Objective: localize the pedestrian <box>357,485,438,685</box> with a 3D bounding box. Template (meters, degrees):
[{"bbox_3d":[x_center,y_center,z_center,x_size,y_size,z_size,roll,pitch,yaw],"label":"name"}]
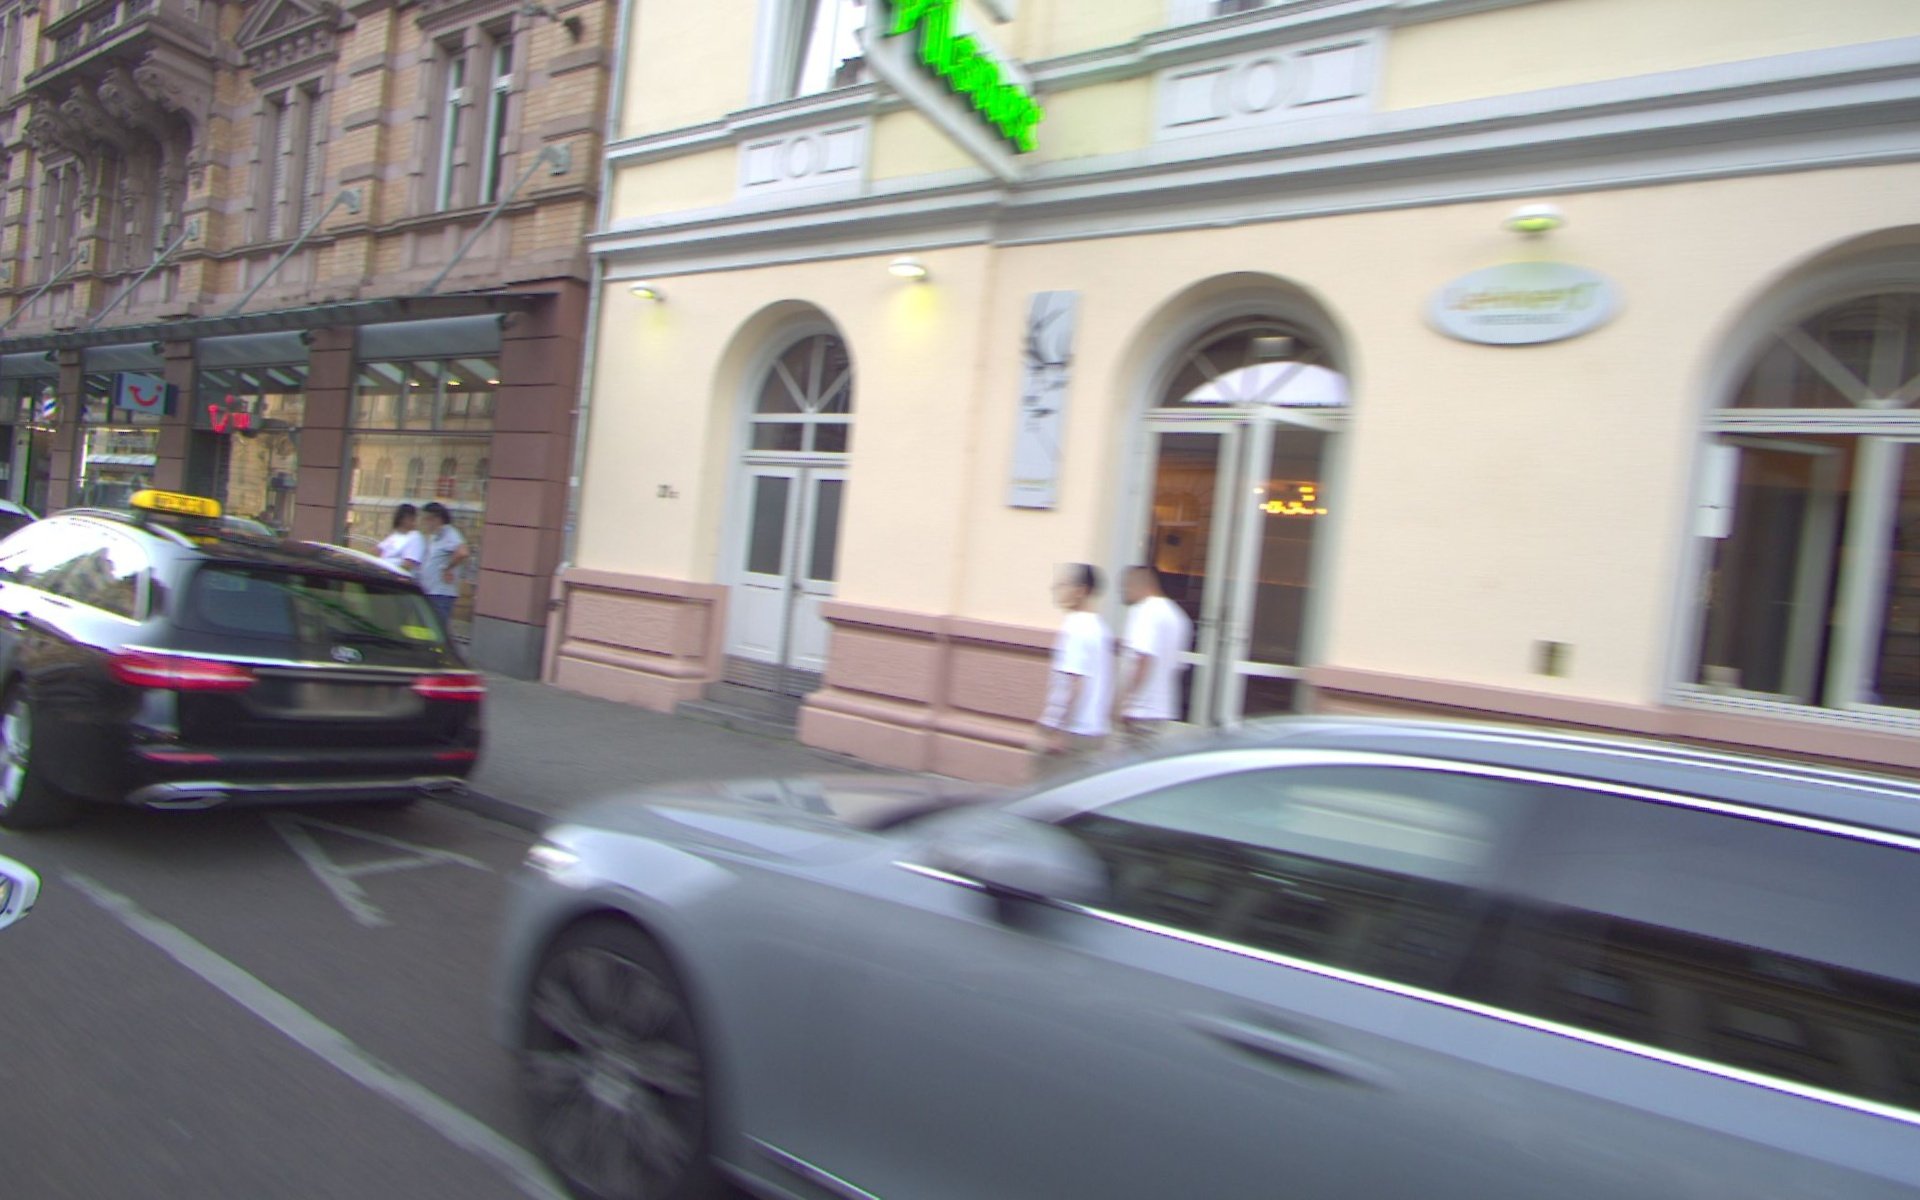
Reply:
[{"bbox_3d":[-5.236,-0.138,9.365,0.448,1.792,0.373,7,3,28],"label":"pedestrian"}]

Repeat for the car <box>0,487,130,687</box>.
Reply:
[{"bbox_3d":[-9.575,-0.340,8.954,4.783,1.528,1.736,6,-2,31],"label":"car"}]

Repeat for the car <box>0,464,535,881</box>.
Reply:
[{"bbox_3d":[-4.622,0.198,5.859,4.371,1.608,1.735,6,-2,35],"label":"car"}]

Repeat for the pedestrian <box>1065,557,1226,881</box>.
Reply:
[{"bbox_3d":[1.085,0.636,5.834,0.542,1.714,0.759,7,5,31],"label":"pedestrian"}]

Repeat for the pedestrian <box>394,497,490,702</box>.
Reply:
[{"bbox_3d":[-4.750,-0.014,9.224,0.652,1.792,0.373,7,3,28],"label":"pedestrian"}]

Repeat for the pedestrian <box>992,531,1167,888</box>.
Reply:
[{"bbox_3d":[0.616,0.533,5.212,0.616,1.714,0.480,0,6,-43],"label":"pedestrian"}]

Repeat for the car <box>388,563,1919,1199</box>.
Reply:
[{"bbox_3d":[0.903,0.929,2.387,4.615,1.493,1.809,6,-1,31],"label":"car"}]
